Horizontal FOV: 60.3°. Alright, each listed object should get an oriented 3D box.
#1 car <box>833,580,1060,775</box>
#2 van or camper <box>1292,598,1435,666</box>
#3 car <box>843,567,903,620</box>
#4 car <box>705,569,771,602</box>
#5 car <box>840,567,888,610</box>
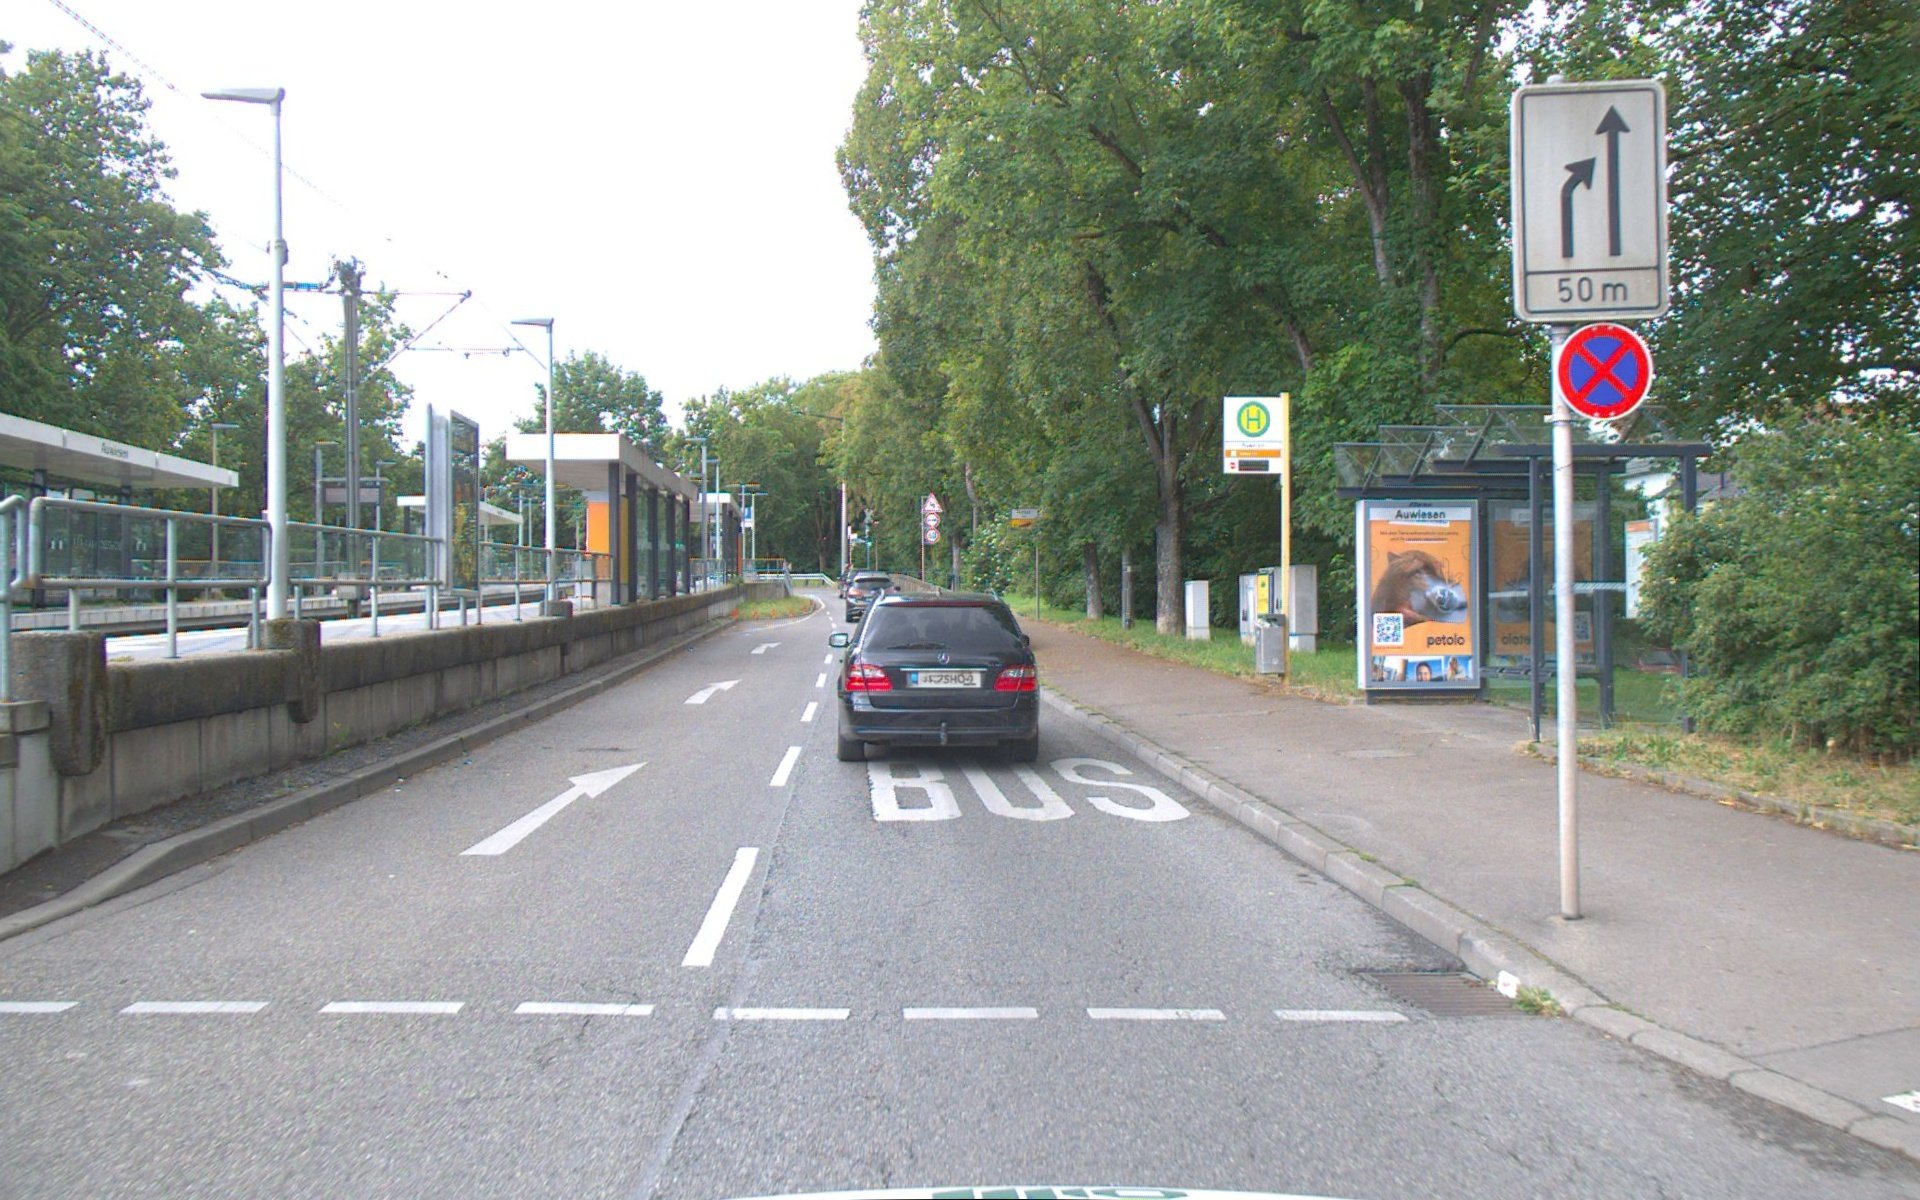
[{"bbox_3d":[-0.256,0.612,15.392,1.747,1.552,3.995,1,1,-6],"label":"car"},{"bbox_3d":[13.064,0.996,53.979,2.139,2.049,5.822,2,0,-13],"label":"van or camper"},{"bbox_3d":[-2.822,-0.221,54.493,1.745,1.677,4.000,0,1,0],"label":"car"},{"bbox_3d":[-13.467,-0.888,100.319,3.933,1.926,1.986,1,-1,44],"label":"car"},{"bbox_3d":[-4.738,-0.544,81.225,1.956,1.952,3.993,2,0,-8],"label":"car"}]
